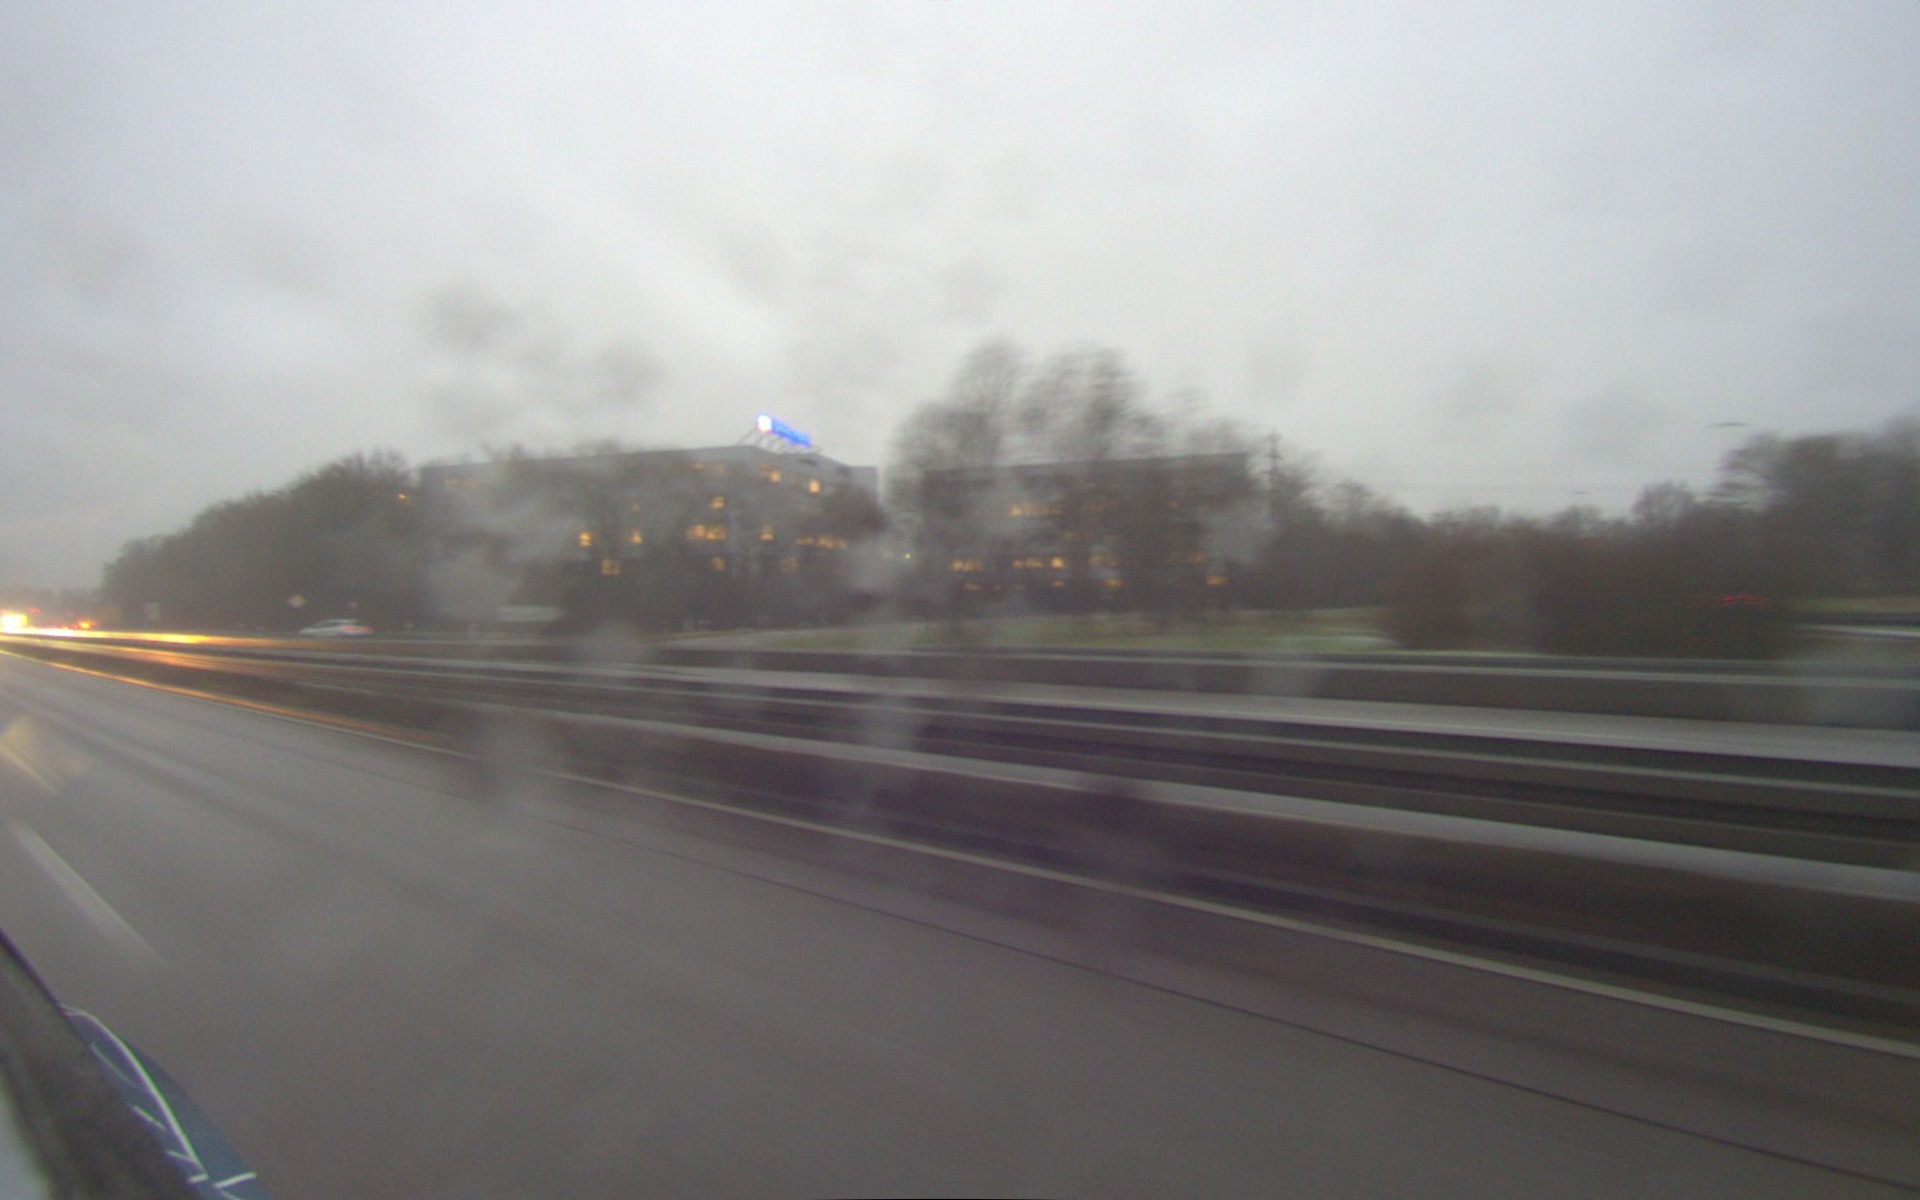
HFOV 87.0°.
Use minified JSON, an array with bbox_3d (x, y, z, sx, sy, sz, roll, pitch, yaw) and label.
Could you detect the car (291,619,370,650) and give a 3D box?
[{"bbox_3d":[-40.304,2.207,64.853,3.950,1.697,1.850,-3,1,5],"label":"car"}]
